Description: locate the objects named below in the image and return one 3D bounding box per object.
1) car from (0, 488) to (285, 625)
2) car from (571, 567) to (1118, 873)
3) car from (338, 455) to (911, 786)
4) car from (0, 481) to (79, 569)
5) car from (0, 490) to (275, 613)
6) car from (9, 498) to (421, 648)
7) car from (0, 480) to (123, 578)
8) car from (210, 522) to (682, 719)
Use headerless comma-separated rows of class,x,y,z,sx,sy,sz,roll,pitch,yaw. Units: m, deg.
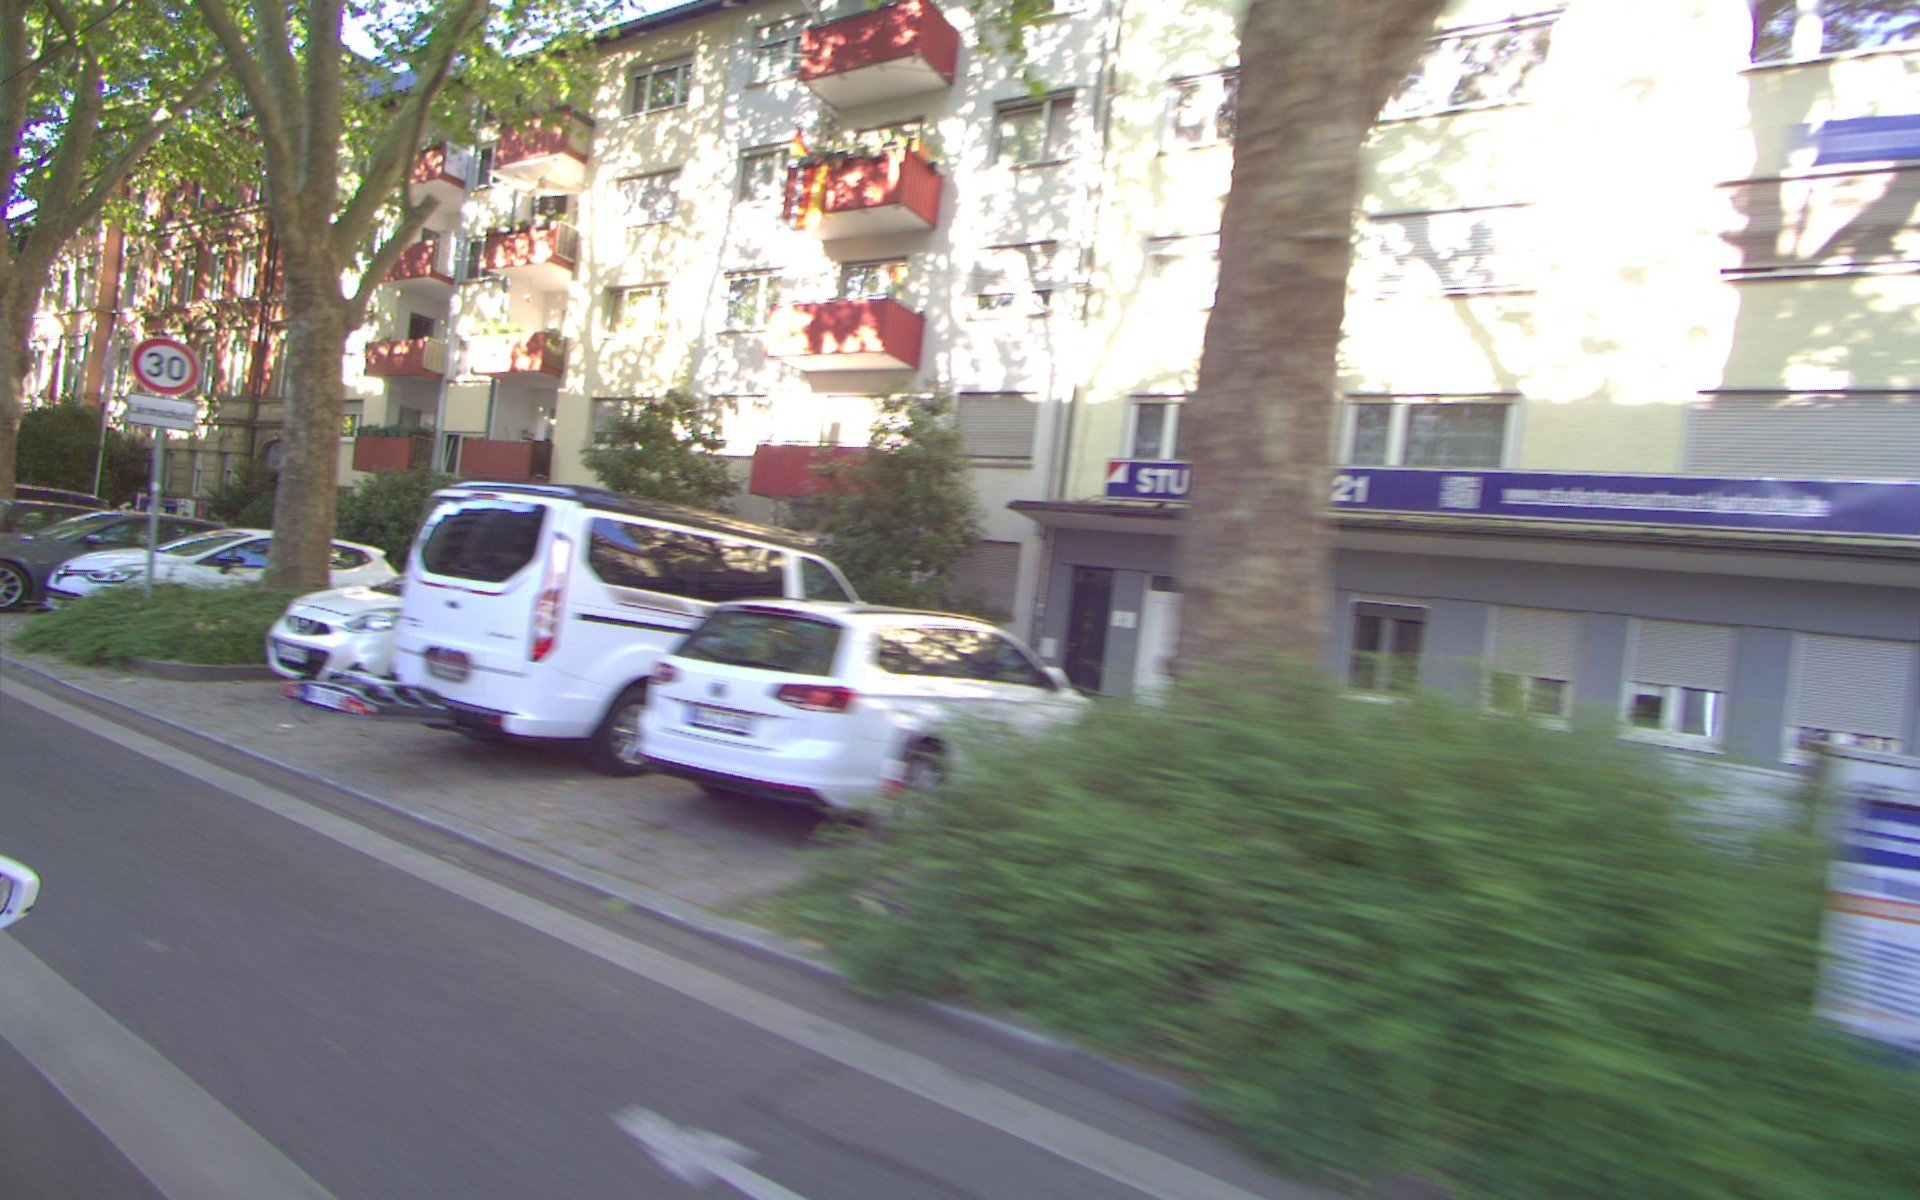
car,-12.305,-0.637,14.164,1.899,1.532,4.150,7,-1,31
car,-0.506,0.796,7.684,1.800,1.497,4.304,7,-1,31
car,-2.574,0.241,8.992,1.966,2.101,4.553,7,-1,29
car,-20.920,-1.754,20.529,1.694,1.700,3.994,7,-1,31
car,-13.793,-0.780,16.315,1.731,1.532,3.994,7,-1,31
car,-9.962,-0.278,13.786,1.892,1.497,4.042,7,-1,32
car,-19.068,-1.538,19.231,1.817,1.686,4.242,7,-1,31
car,-4.944,0.280,10.270,1.694,1.497,3.905,7,-1,29
